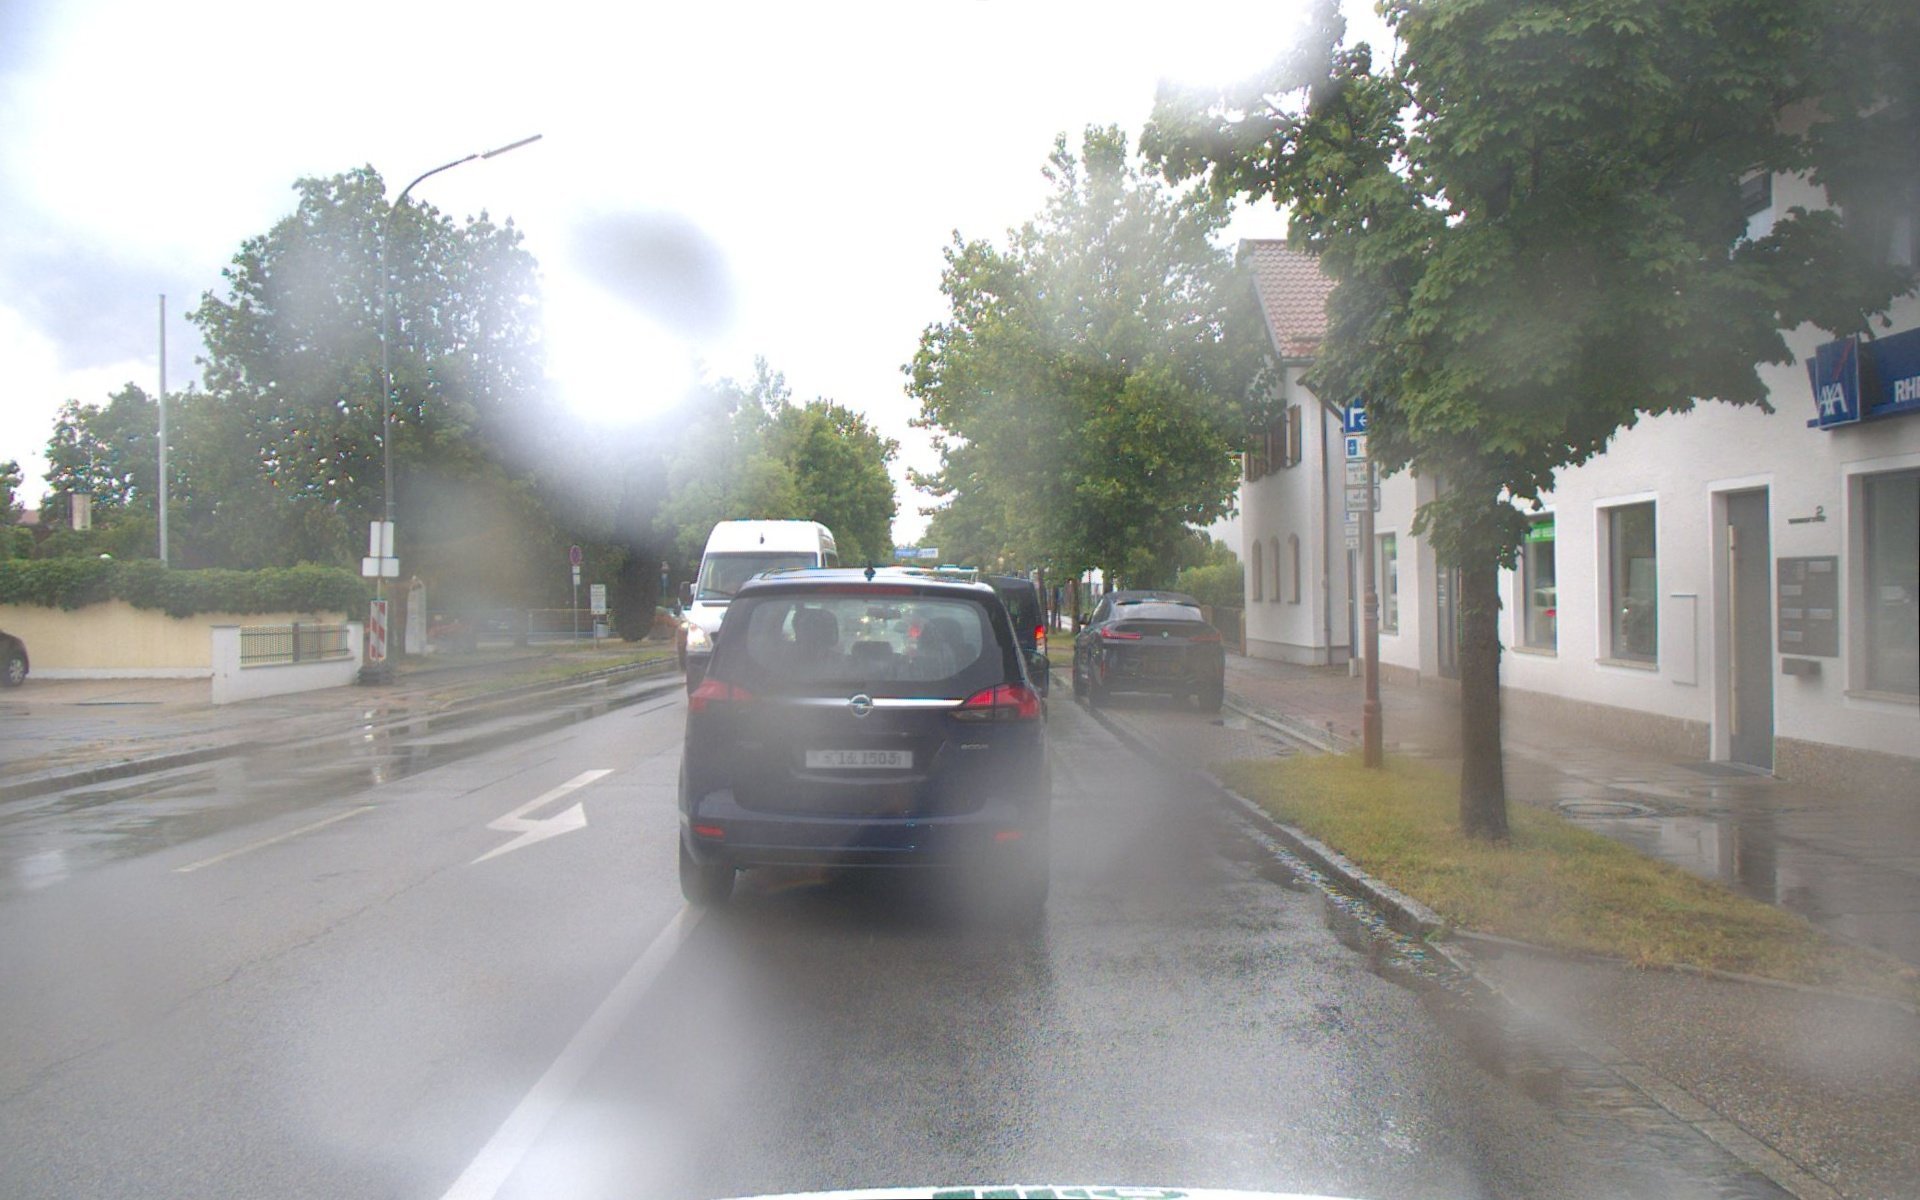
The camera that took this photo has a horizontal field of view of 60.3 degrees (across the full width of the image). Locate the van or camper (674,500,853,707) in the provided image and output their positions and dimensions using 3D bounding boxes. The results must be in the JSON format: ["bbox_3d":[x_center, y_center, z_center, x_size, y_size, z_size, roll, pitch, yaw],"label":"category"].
[{"bbox_3d":[-2.852,0.047,25.441,2.051,2.754,6.267,-1,0,-1],"label":"van or camper"}]

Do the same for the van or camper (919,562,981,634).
[{"bbox_3d":[-0.406,-0.080,66.459,2.312,2.712,5.371,-1,0,-1],"label":"van or camper"}]

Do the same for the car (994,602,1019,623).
[{"bbox_3d":[3.166,0.847,112.995,1.597,1.402,3.622,0,-1,-1],"label":"car"}]

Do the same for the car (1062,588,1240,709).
[{"bbox_3d":[2.698,0.667,24.279,2.074,1.609,3.934,1,0,-1],"label":"car"}]

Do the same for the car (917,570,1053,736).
[{"bbox_3d":[0.263,0.583,19.649,1.470,1.807,3.111,1,0,-1],"label":"car"}]

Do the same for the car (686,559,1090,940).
[{"bbox_3d":[-0.323,0.649,8.972,1.732,1.633,3.663,0,0,-1],"label":"car"}]

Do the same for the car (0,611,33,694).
[{"bbox_3d":[-17.149,0.925,27.440,1.574,1.404,3.508,-2,0,-1],"label":"car"}]

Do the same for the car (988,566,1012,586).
[{"bbox_3d":[2.969,-1.751,122.263,1.597,1.402,3.622,-2,0,-1],"label":"car"}]
